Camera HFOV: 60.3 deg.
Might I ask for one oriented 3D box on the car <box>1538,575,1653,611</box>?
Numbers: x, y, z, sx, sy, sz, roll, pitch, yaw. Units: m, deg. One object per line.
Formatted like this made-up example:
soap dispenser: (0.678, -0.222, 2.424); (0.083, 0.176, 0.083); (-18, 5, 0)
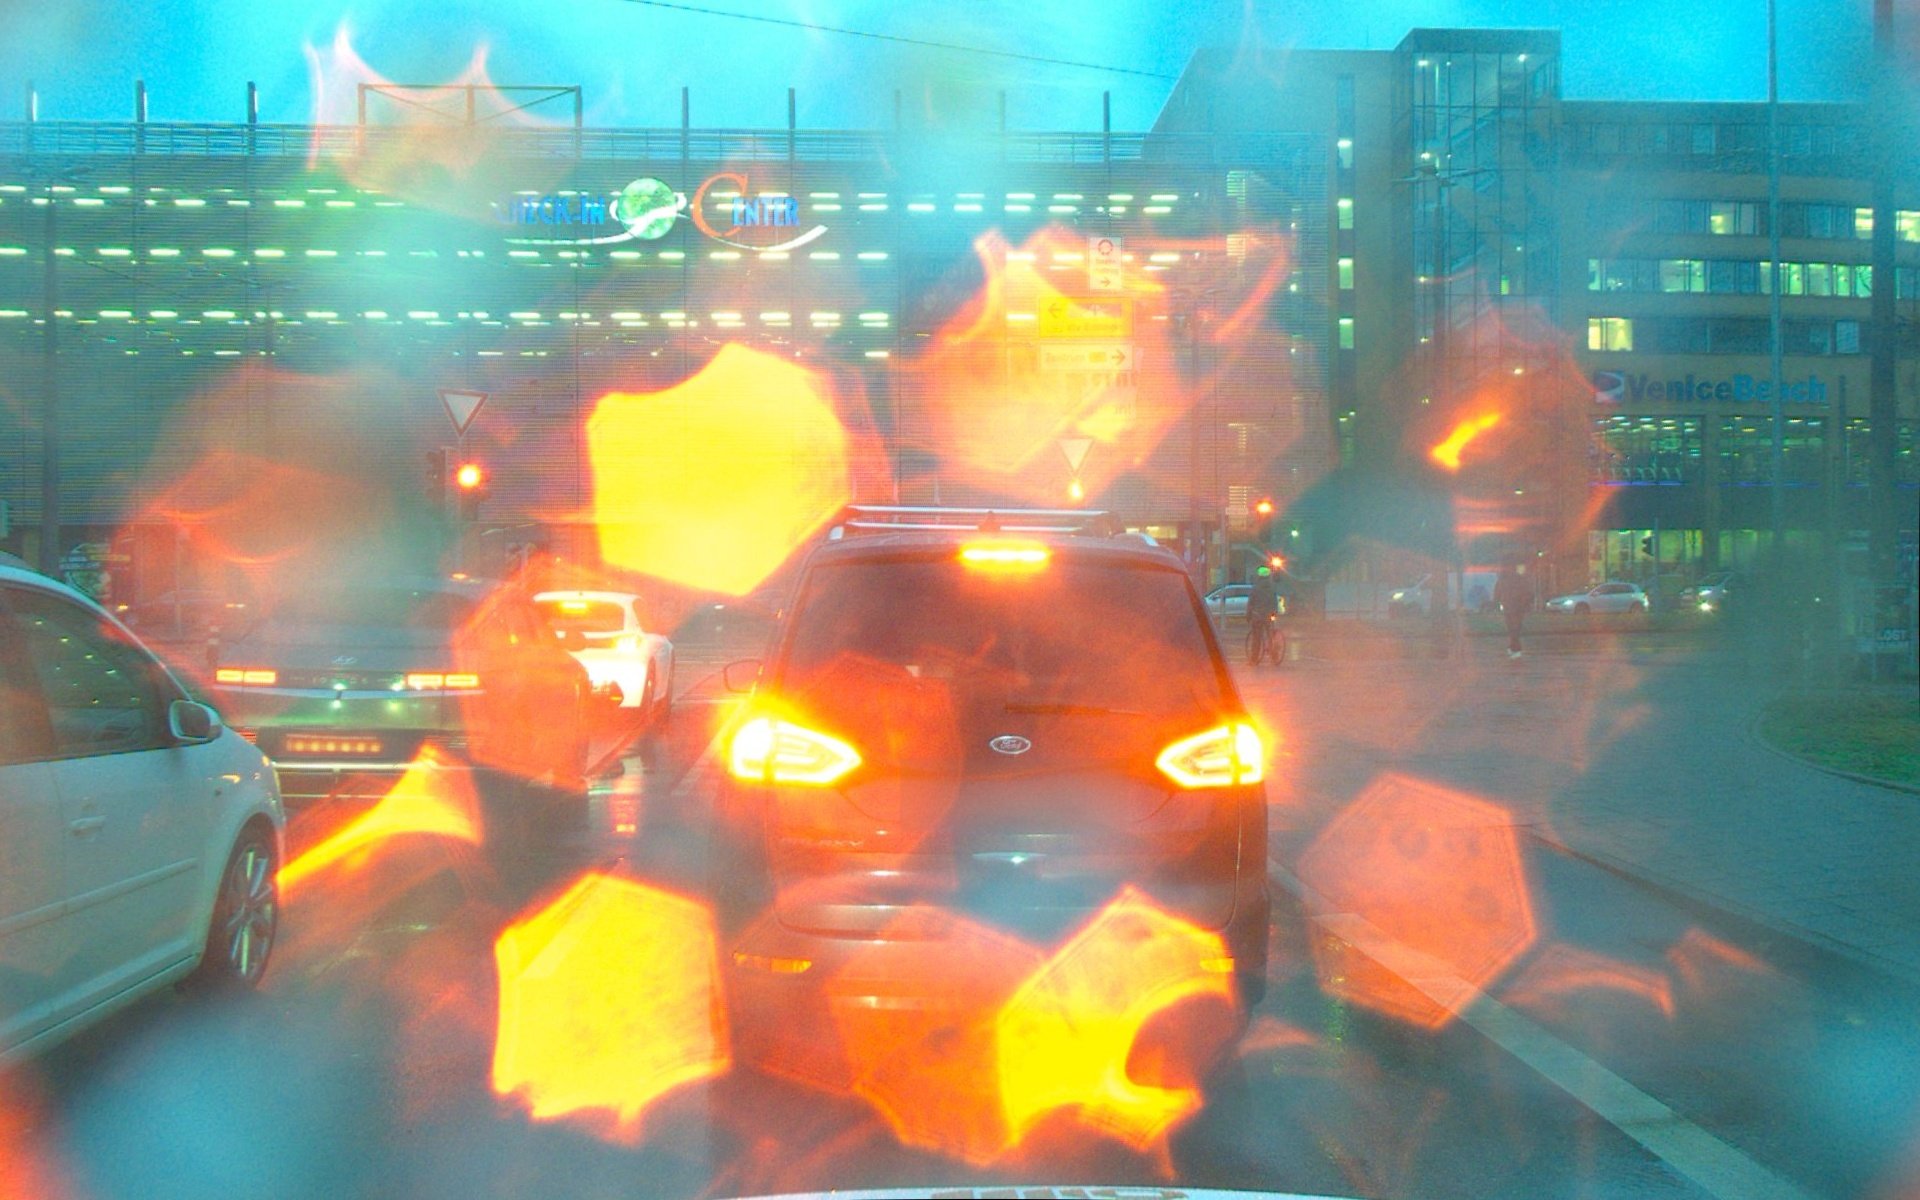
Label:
car: (26.433, -0.291, 68.806); (4.136, 1.414, 1.797); (-1, 0, -8)

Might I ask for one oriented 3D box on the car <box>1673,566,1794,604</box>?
car: (32.750, -0.649, 70.073); (4.348, 1.561, 1.797); (-1, 0, -8)

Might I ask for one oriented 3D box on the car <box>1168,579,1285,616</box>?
car: (10.693, -0.107, 66.450); (4.336, 1.414, 1.797); (-1, 0, -8)

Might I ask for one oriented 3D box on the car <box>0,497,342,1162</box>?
car: (-3.256, 0.551, 4.620); (1.637, 1.689, 4.146); (2, 1, -3)

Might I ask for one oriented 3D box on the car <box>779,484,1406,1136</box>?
car: (0.270, 0.575, 6.721); (1.700, 1.768, 4.244); (2, 0, -3)

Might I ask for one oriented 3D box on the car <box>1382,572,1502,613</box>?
car: (19.585, -0.321, 67.230); (4.336, 1.623, 1.797); (-1, 0, -8)

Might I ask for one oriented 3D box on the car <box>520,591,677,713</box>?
car: (-4.138, 0.535, 19.403); (1.512, 1.273, 4.060); (0, 0, -8)

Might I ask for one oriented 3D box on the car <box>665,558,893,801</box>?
car: (-1.453, 0.573, 13.701); (1.604, 1.726, 3.667); (1, 0, -5)

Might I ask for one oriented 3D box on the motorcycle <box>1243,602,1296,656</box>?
motorcycle: (5.928, 0.550, 31.733); (0.835, 0.989, 1.582); (0, 0, 5)

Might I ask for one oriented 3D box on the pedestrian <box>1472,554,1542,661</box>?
pedestrian: (10.330, 0.133, 31.233); (1.146, 1.957, 0.898); (2, 0, 22)

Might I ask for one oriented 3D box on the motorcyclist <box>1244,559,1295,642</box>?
motorcyclist: (5.931, 0.015, 31.748); (0.850, 1.561, 1.109); (0, 0, 5)

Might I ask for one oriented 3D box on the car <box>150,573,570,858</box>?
car: (-3.880, 0.644, 11.425); (1.718, 1.601, 3.996); (0, 0, -5)
